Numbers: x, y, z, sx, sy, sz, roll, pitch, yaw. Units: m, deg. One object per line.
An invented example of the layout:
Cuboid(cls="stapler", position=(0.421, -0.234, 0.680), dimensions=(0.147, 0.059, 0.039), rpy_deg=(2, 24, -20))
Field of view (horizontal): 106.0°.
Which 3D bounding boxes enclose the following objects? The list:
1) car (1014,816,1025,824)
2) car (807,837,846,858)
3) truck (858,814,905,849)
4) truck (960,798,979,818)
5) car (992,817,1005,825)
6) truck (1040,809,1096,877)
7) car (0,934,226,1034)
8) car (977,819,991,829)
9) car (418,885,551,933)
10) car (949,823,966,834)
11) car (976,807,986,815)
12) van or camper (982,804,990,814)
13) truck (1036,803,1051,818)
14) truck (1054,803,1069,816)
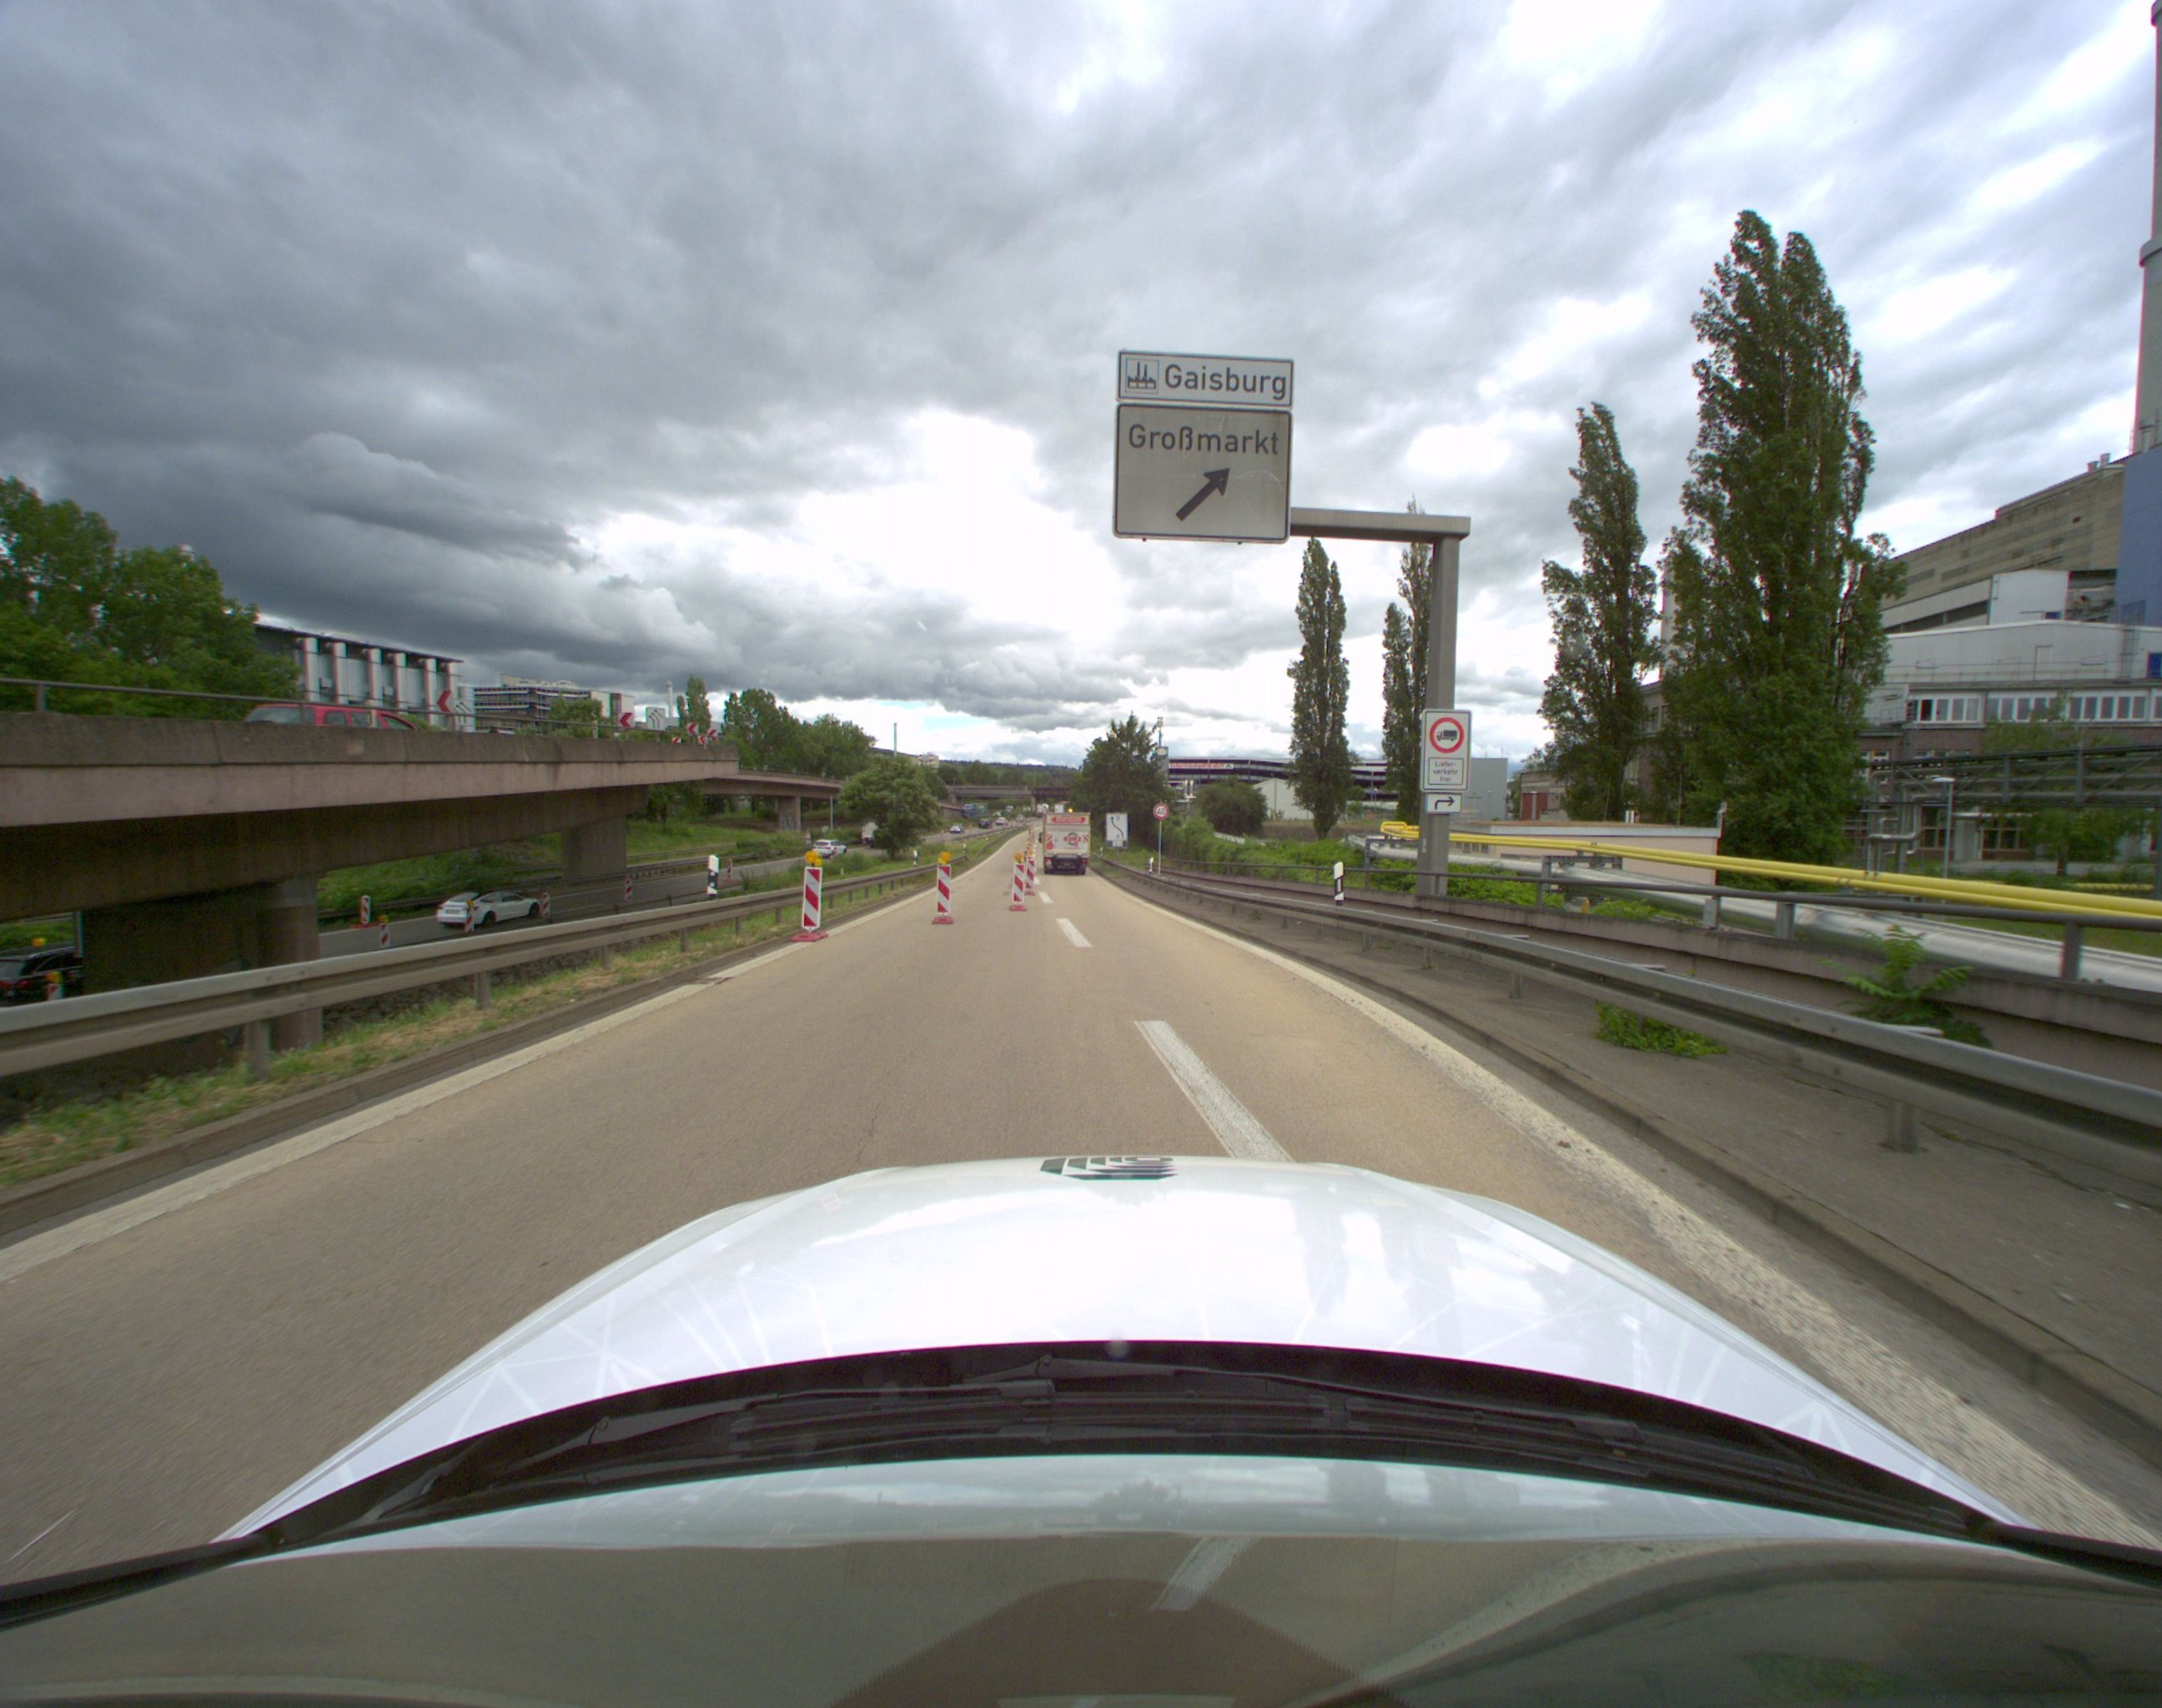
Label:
Cuboid(cls="car", position=(-13.854, -7.678, 182.458), dimensions=(1.986, 1.617, 4.003), rpy_deg=(1, 3, 2))
Cuboid(cls="car", position=(-23.526, -0.594, 75.340), dimensions=(1.983, 1.712, 4.109), rpy_deg=(1, 3, 6))
Cuboid(cls="truck", position=(-22.181, -2.601, 90.869), dimensions=(3.039, 3.655, 7.403), rpy_deg=(1, 3, 2))
Cuboid(cls="truck", position=(-24.392, -10.137, 178.475), dimensions=(2.739, 4.270, 5.513), rpy_deg=(1, 3, 6))
Cuboid(cls="car", position=(-16.402, -6.549, 161.378), dimensions=(1.986, 1.617, 4.003), rpy_deg=(1, 3, 2))
Cuboid(cls="truck", position=(-0.913, -0.828, 48.697), dimensions=(3.044, 3.671, 7.921), rpy_deg=(1, 3, -3))
Cuboid(cls="car", position=(-26.273, 3.315, 21.613), dimensions=(2.027, 1.614, 4.587), rpy_deg=(1, 3, 6))
Cuboid(cls="car", position=(-17.431, -5.414, 146.470), dimensions=(1.986, 1.617, 4.003), rpy_deg=(1, 3, 2))
Cuboid(cls="car", position=(-26.134, 2.364, 35.930), dimensions=(1.983, 1.455, 4.811), rpy_deg=(1, 3, 6))
Cuboid(cls="car", position=(-19.242, -4.035, 127.173), dimensions=(1.986, 1.617, 4.003), rpy_deg=(1, 3, 2))
Cuboid(cls="car", position=(-26.901, -11.596, 218.360), dimensions=(1.986, 2.013, 4.003), rpy_deg=(1, 3, 2))
Cuboid(cls="van or camper", position=(-26.248, -12.467, 225.194), dimensions=(1.731, 2.636, 4.058), rpy_deg=(1, 3, 2))
Cuboid(cls="truck", position=(-10.096, -11.741, 218.758), dimensions=(3.274, 3.851, 7.670), rpy_deg=(1, 3, 2))
Cuboid(cls="truck", position=(-5.414, -12.305, 225.775), dimensions=(3.270, 3.598, 7.681), rpy_deg=(1, 3, 6))
